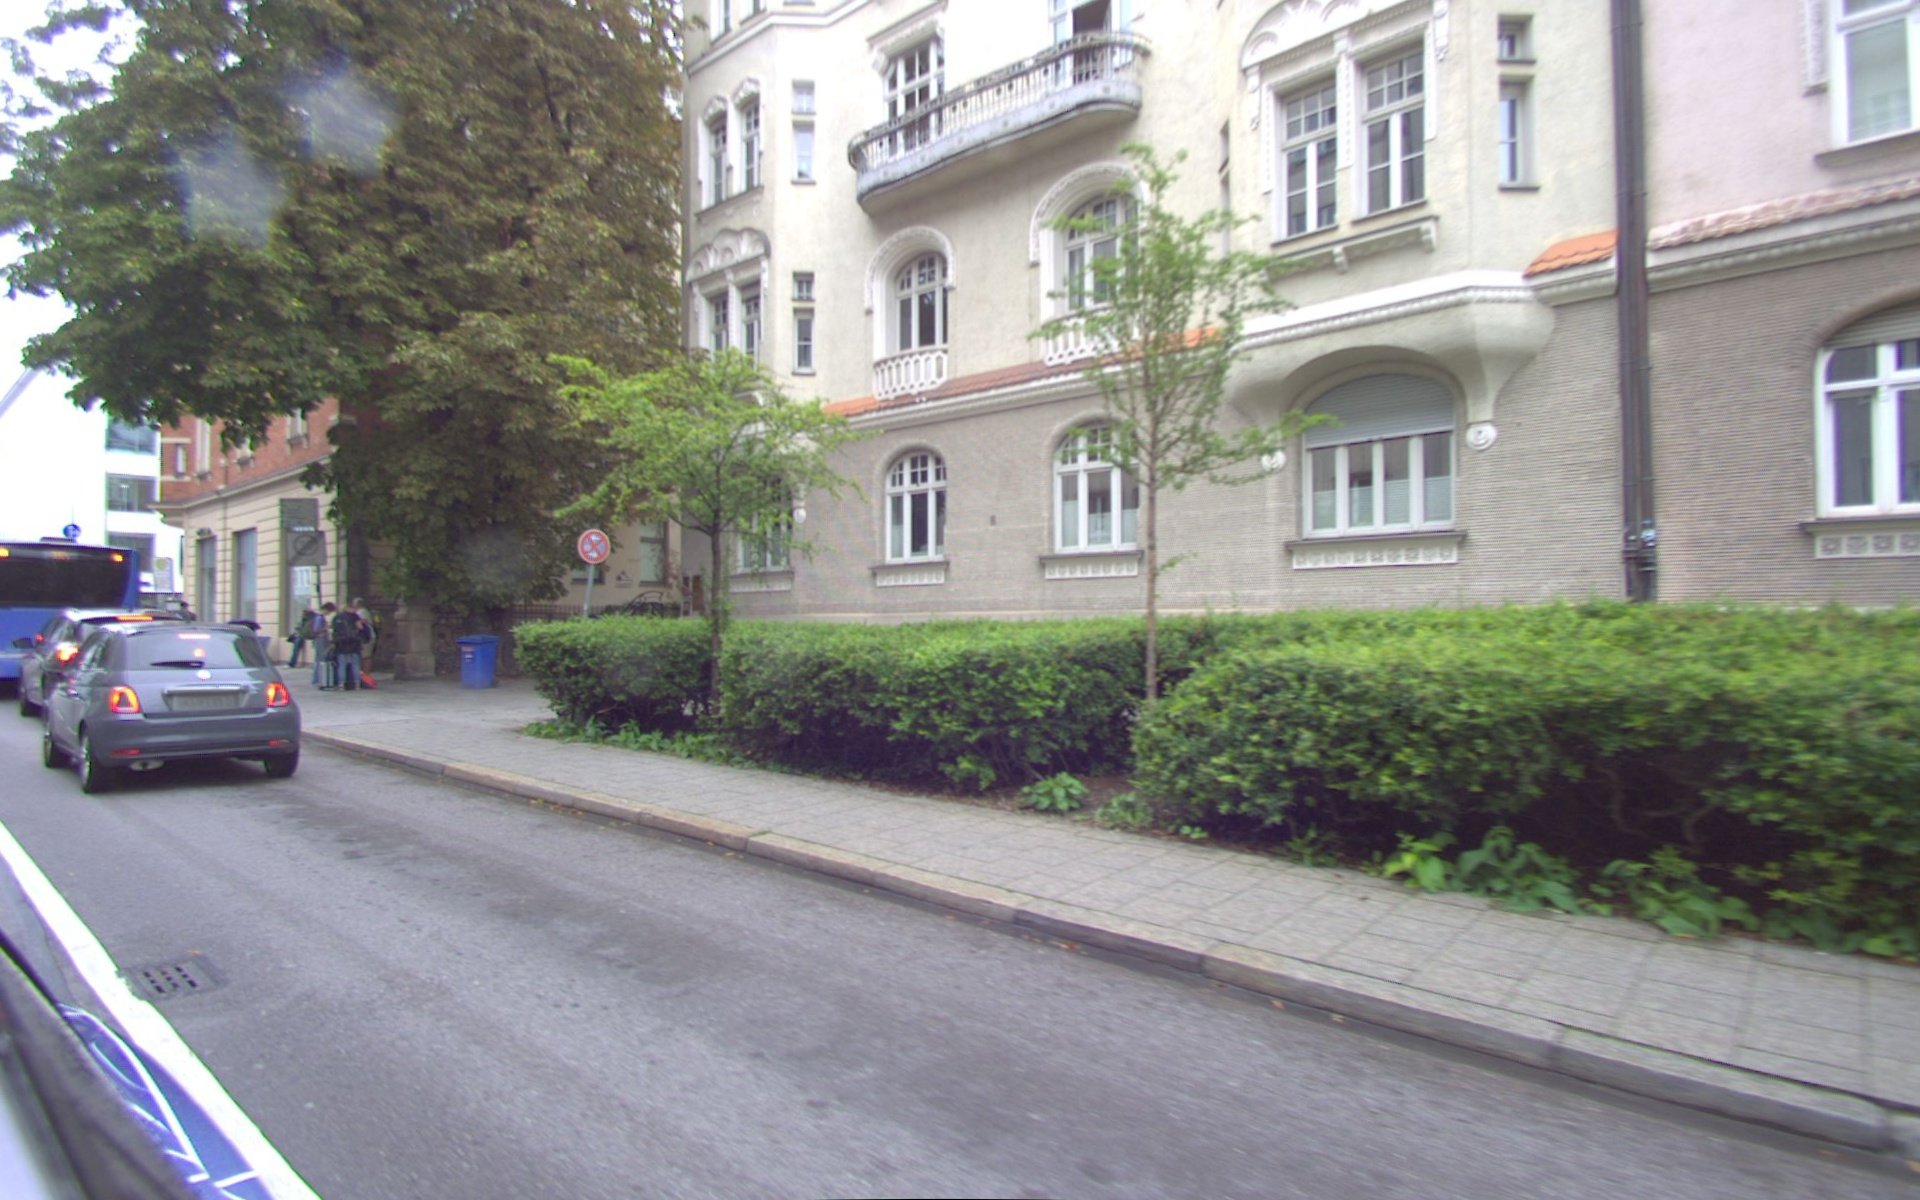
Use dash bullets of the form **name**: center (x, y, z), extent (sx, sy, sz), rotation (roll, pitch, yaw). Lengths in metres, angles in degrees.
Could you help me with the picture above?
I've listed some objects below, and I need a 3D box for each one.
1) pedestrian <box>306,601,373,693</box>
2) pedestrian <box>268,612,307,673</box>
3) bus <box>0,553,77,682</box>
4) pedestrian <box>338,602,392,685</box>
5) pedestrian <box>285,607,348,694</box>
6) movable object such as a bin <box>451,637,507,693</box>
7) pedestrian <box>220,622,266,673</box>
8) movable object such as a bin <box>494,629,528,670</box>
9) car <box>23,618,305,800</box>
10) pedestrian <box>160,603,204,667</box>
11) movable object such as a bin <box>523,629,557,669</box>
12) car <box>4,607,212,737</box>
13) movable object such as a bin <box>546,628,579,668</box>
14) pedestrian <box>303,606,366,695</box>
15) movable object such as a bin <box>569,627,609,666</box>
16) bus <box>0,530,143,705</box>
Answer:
- **pedestrian**: center (-12.219, 0.918, 19.938), extent (0.847, 1.758, 0.898), rotation (-1, -2, 41)
- **pedestrian**: center (-17.451, 1.104, 26.267), extent (0.753, 1.550, 0.618), rotation (-1, -3, 40)
- **bus**: center (-26.542, 0.514, 27.690), extent (9.107, 3.124, 2.551), rotation (-1, -3, 43)
- **pedestrian**: center (-12.915, 0.946, 21.994), extent (0.773, 1.758, 0.878), rotation (1, -2, -16)
- **pedestrian**: center (-13.460, 1.036, 21.171), extent (0.910, 1.758, 0.864), rotation (-1, -2, 41)
- **movable object such as a bin**: center (-9.694, 1.297, 20.401), extent (0.622, 1.095, 0.804), rotation (-1, -1, 32)
- **pedestrian**: center (-19.473, 1.292, 27.474), extent (0.753, 1.351, 0.820), rotation (-1, -3, 40)
- **movable object such as a bin**: center (-12.318, 1.338, 27.782), extent (0.614, 1.095, 0.814), rotation (1, -2, -44)
- **car**: center (-8.074, 0.952, 10.149), extent (3.781, 1.490, 1.567), rotation (-1, -3, 42)
- **pedestrian**: center (-25.159, 1.122, 32.743), extent (0.769, 2.029, 0.831), rotation (0, -2, -1)
- **movable object such as a bin**: center (-11.737, 1.351, 28.288), extent (0.614, 1.095, 0.814), rotation (1, -2, -44)
- **car**: center (-12.711, 0.986, 15.007), extent (4.272, 1.657, 1.749), rotation (-1, -3, 42)
- **movable object such as a bin**: center (-11.307, 1.354, 28.810), extent (0.614, 1.095, 0.814), rotation (1, -2, -44)
- **pedestrian**: center (-12.751, 1.019, 20.632), extent (0.786, 1.758, 0.864), rotation (-1, -2, 41)
- **movable object such as a bin**: center (-10.785, 1.347, 29.403), extent (0.844, 1.100, 0.814), rotation (1, -2, -44)
- **bus**: center (-19.937, 0.412, 21.595), extent (8.922, 3.124, 2.551), rotation (-1, -3, 43)
